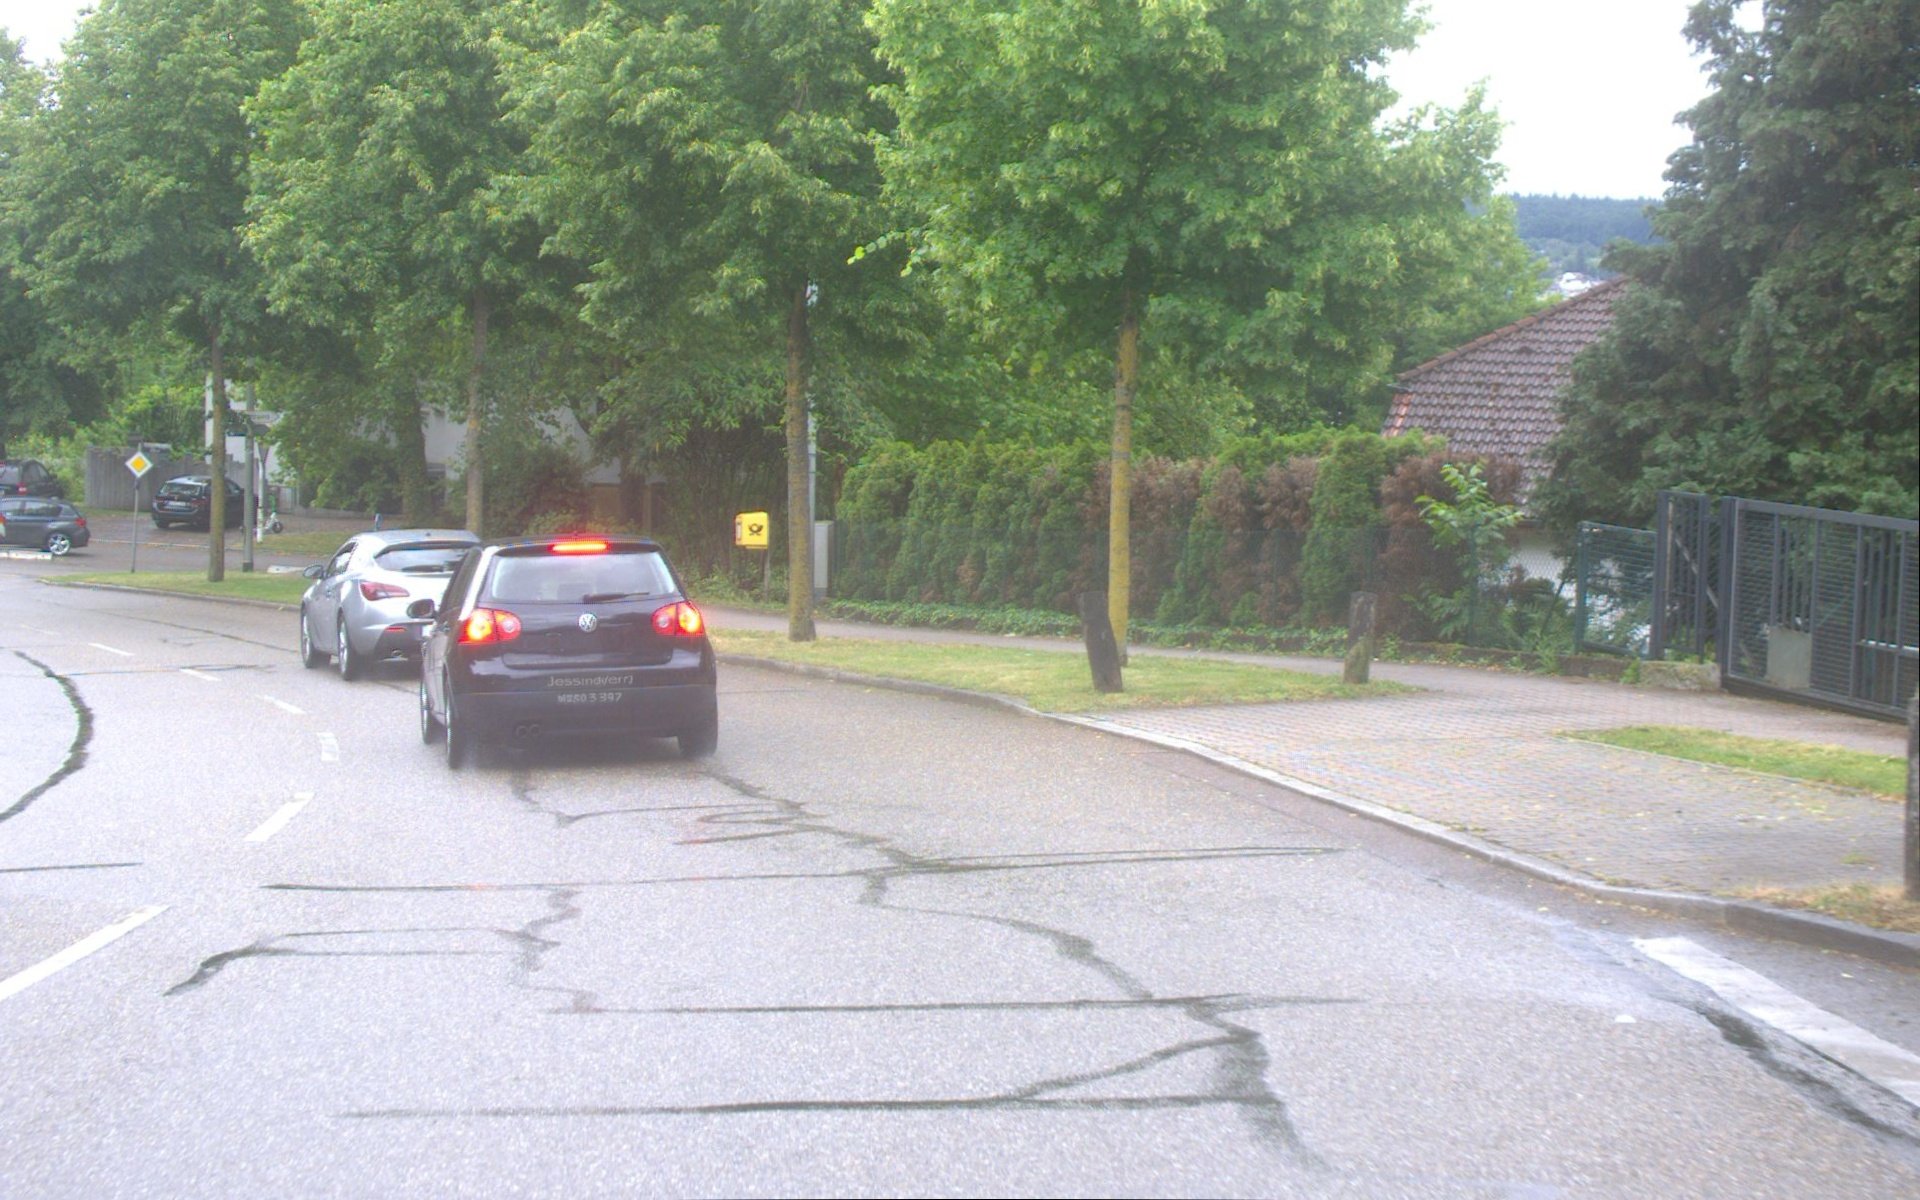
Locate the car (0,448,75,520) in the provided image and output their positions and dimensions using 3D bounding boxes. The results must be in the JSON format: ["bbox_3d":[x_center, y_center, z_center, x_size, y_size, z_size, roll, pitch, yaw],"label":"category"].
[{"bbox_3d":[-26.712,-3.304,97.381,1.947,1.683,4.905,2,5,1],"label":"car"}]

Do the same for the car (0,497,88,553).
[{"bbox_3d":[-24.029,-1.871,85.961,4.125,1.379,1.728,0,1,-23],"label":"car"}]

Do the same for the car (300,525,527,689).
[{"bbox_3d":[-5.604,0.021,34.915,1.754,1.459,4.002,-1,3,-17],"label":"car"}]

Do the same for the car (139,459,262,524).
[{"bbox_3d":[-21.398,-3.093,97.075,1.752,1.464,4.565,3,6,10],"label":"car"}]

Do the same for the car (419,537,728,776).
[{"bbox_3d":[-2.703,0.312,23.328,1.721,1.459,4.001,0,1,-12],"label":"car"}]

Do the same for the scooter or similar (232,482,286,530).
[{"bbox_3d":[-19.475,-2.617,95.517,1.335,1.281,0.562,-2,3,-33],"label":"scooter or similar"}]
